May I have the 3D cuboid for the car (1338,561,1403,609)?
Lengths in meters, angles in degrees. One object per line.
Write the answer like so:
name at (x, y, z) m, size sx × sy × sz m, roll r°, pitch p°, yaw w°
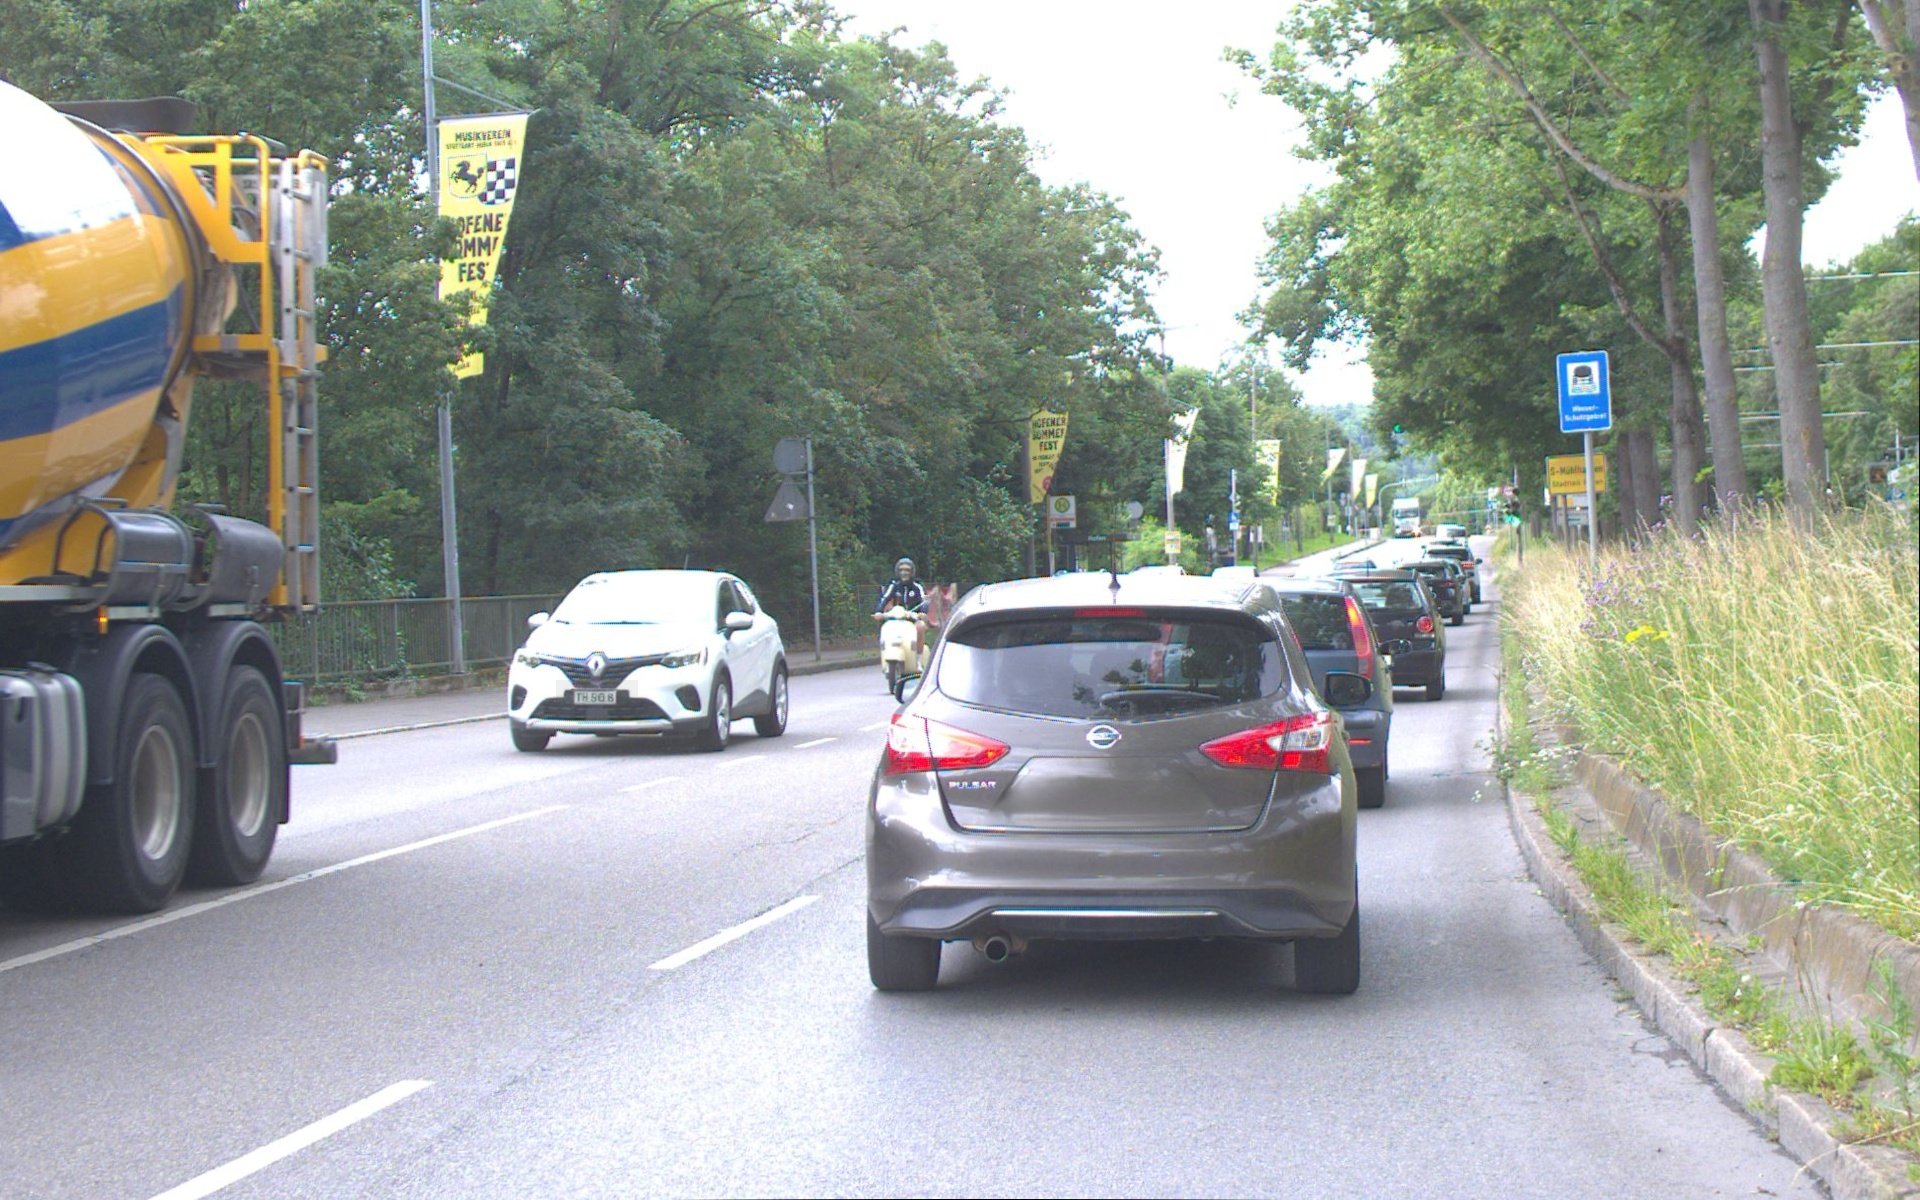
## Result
car at (13.518, -0.468, 113.039) m, size 1.852 × 1.481 × 4.419 m, roll -1°, pitch -1°, yaw 10°

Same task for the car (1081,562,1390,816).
car at (1.794, 0.584, 23.514) m, size 1.893 × 1.569 × 4.000 m, roll -1°, pitch -1°, yaw 2°

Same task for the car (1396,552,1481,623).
car at (10.779, -0.256, 77.270) m, size 1.805 × 1.535 × 3.998 m, roll 0°, pitch 0°, yaw 9°

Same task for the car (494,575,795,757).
car at (-2.696, 0.529, 30.271) m, size 1.767 × 1.474 × 3.999 m, roll -1°, pitch 1°, yaw 8°

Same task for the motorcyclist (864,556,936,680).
motorcyclist at (-0.753, 0.221, 43.164) m, size 0.745 × 1.533 × 0.790 m, roll -1°, pitch 0°, yaw 10°

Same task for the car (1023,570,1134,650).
car at (2.376, 0.223, 67.930) m, size 1.721 × 1.437 × 3.998 m, roll -2°, pitch -2°, yaw 8°

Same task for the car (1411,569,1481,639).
car at (12.763, 0.121, 90.308) m, size 1.719 × 1.687 × 3.998 m, roll -2°, pitch -2°, yaw 8°

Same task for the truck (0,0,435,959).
truck at (-4.909, -0.573, 14.563) m, size 2.655 × 3.925 × 10.108 m, roll 0°, pitch 0°, yaw 7°

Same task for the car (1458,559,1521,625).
car at (16.701, -0.252, 108.324) m, size 1.891 × 2.007 × 3.998 m, roll -1°, pitch 0°, yaw 9°

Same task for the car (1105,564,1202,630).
car at (4.581, -0.092, 80.882) m, size 1.818 × 1.457 × 3.998 m, roll -2°, pitch 0°, yaw 10°

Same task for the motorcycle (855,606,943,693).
motorcycle at (-0.756, 0.608, 43.136) m, size 0.745 × 1.030 × 1.887 m, roll -1°, pitch 1°, yaw 10°

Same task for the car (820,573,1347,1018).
car at (0.523, 0.684, 13.626) m, size 1.775 × 1.489 × 3.999 m, roll 0°, pitch -1°, yaw 3°

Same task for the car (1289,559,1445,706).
car at (4.565, 0.355, 38.944) m, size 1.578 × 1.533 × 3.999 m, roll -2°, pitch 0°, yaw 5°

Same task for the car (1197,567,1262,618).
car at (8.459, -0.219, 107.540) m, size 1.752 × 1.415 × 3.998 m, roll -2°, pitch -2°, yaw 8°

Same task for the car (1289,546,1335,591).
car at (14.674, -1.301, 143.177) m, size 1.719 × 1.687 × 3.724 m, roll -2°, pitch -2°, yaw 8°
